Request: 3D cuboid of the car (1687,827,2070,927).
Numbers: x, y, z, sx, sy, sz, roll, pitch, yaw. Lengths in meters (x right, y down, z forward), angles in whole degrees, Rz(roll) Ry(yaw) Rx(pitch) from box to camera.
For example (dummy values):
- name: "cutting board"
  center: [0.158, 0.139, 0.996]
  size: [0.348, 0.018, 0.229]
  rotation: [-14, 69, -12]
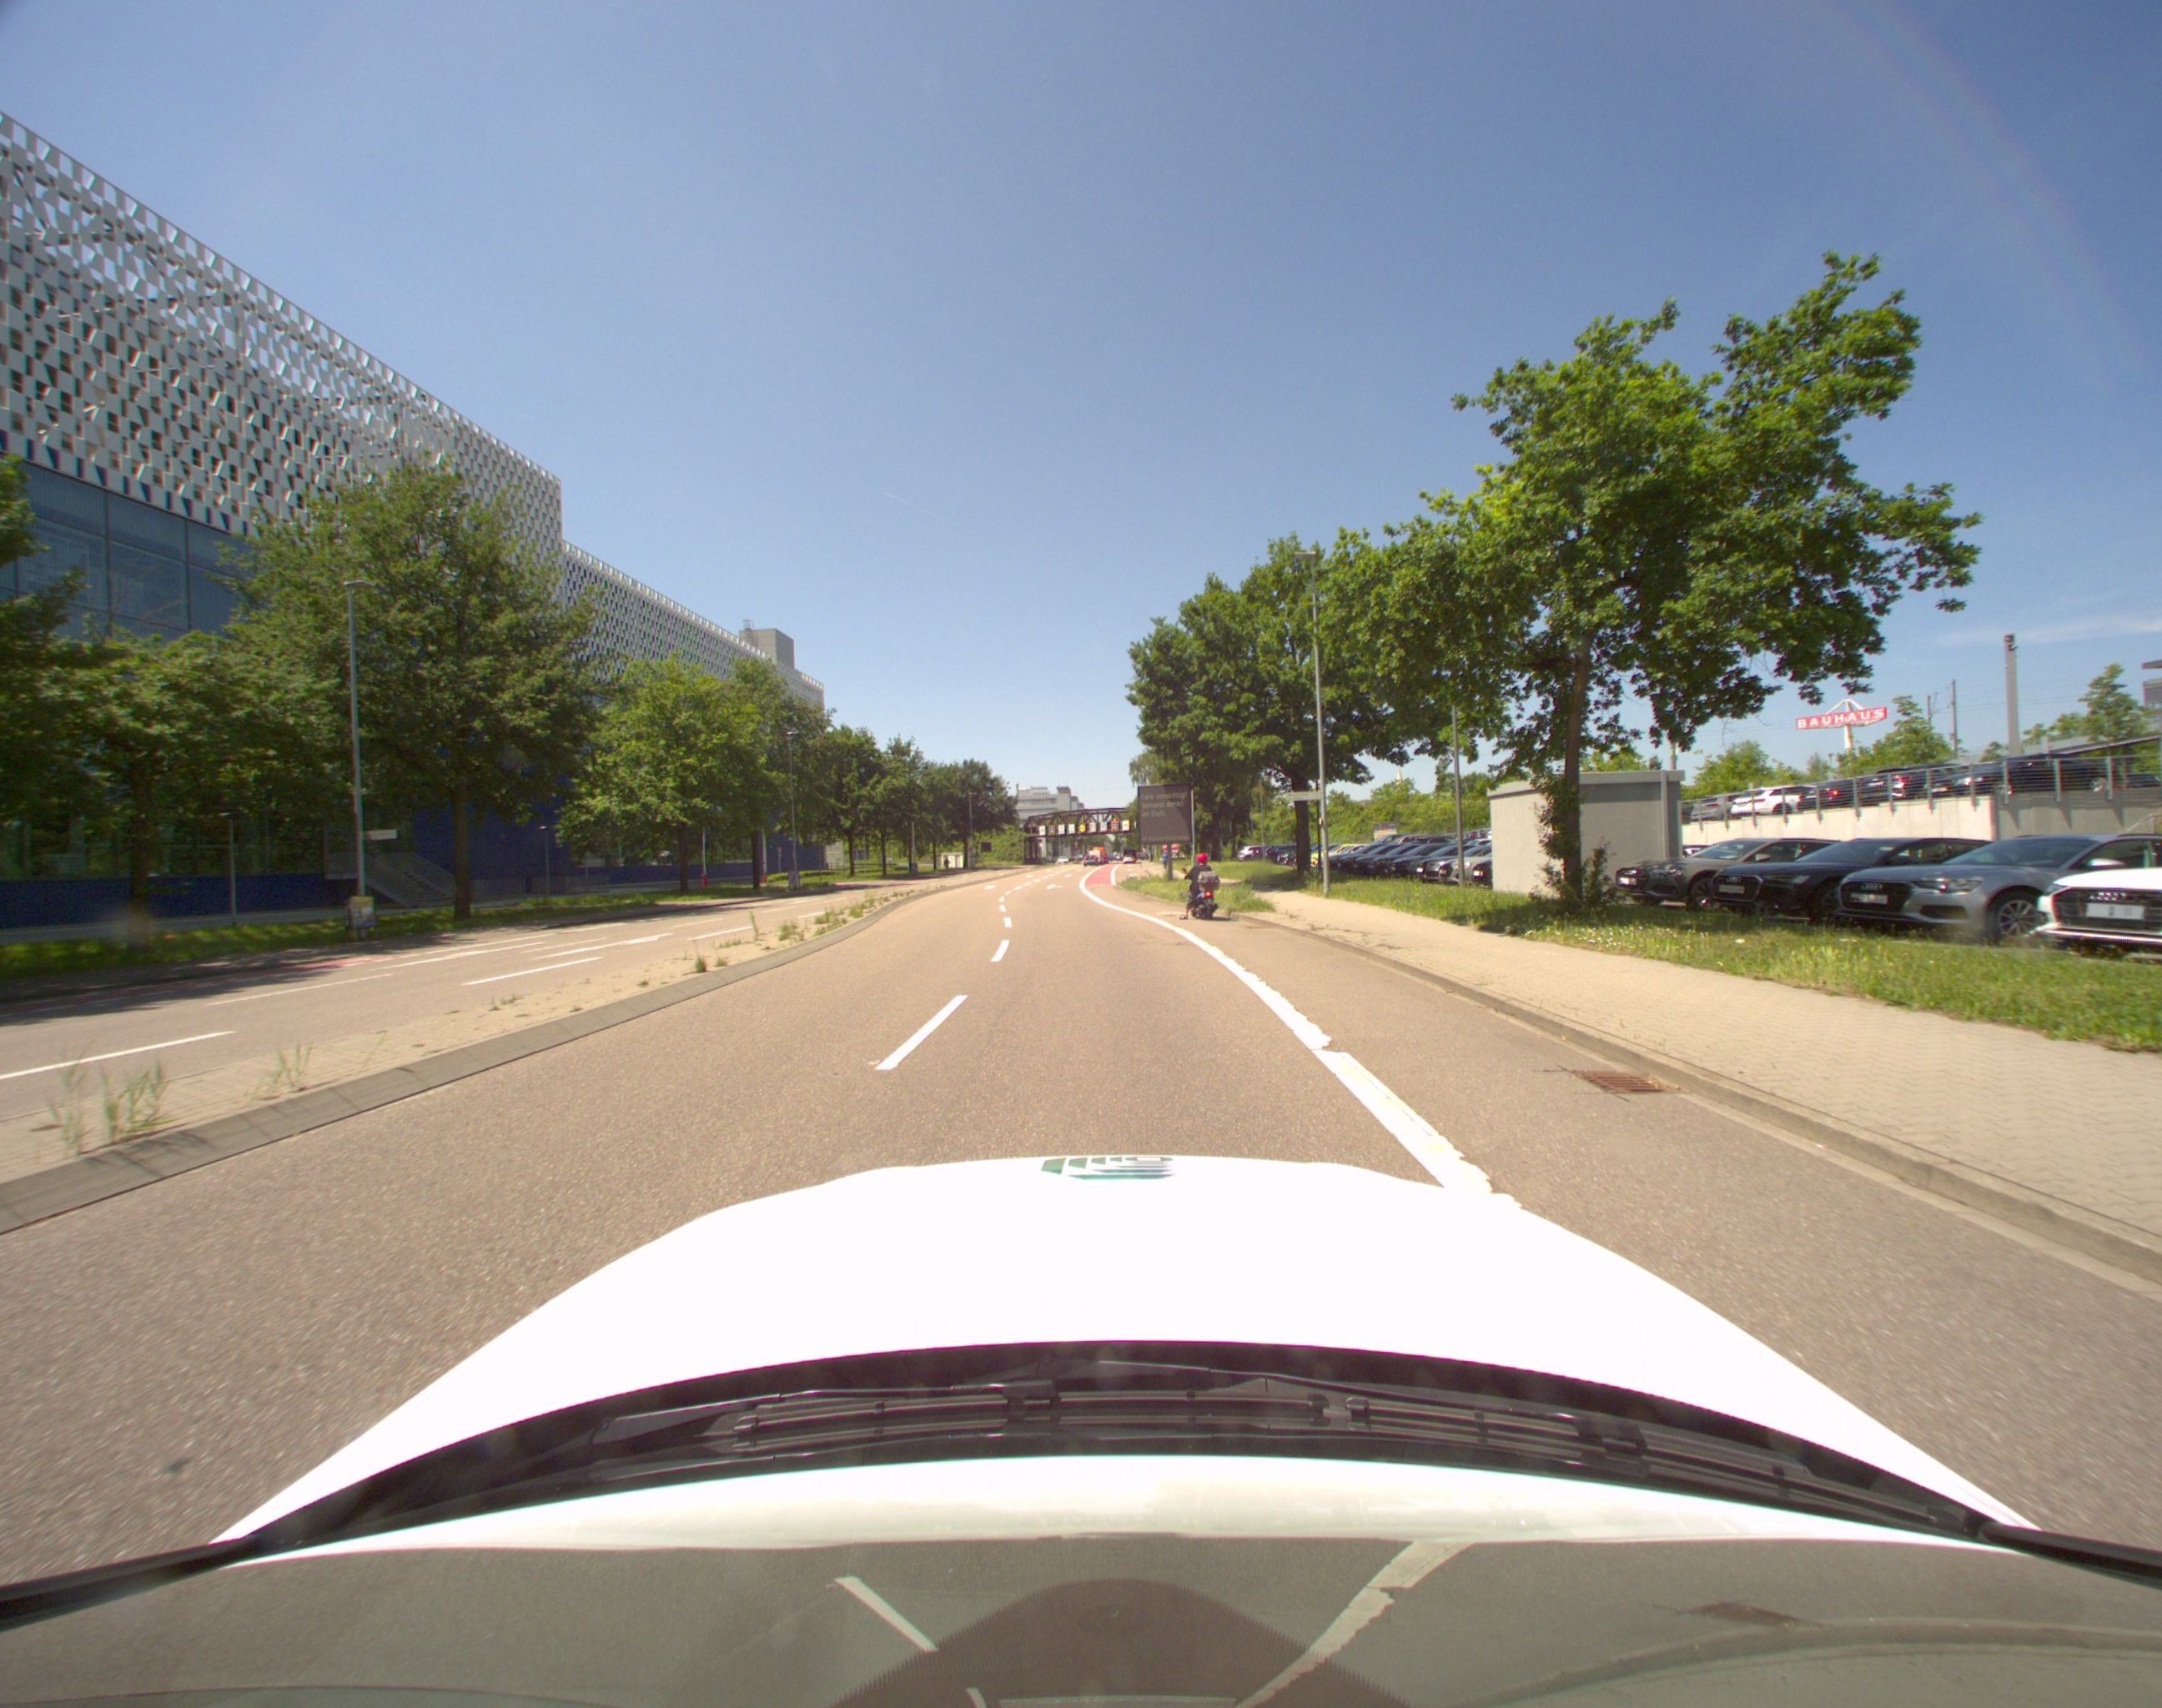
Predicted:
- name: "car"
  center: [12.594, 0.337, 13.111]
  size: [4.204, 1.342, 1.919]
  rotation: [2, 0, 2]

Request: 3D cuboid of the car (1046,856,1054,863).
- name: "car"
  center: [-7.676, 1.387, 204.107]
  size: [1.710, 1.732, 3.807]
  rotation: [-2, 0, 1]

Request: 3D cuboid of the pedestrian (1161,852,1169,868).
- name: "pedestrian"
  center: [7.298, 0.481, 71.125]
  size: [0.621, 1.374, 0.564]
  rotation: [-2, 0, 1]

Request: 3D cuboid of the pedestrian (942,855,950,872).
- name: "pedestrian"
  center: [-15.437, 1.096, 92.936]
  size: [0.740, 1.884, 0.578]
  rotation: [-2, 0, 3]

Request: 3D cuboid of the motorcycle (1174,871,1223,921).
- name: "motorcycle"
  center: [2.793, 0.969, 19.517]
  size: [0.715, 1.105, 1.826]
  rotation: [0, 0, -7]

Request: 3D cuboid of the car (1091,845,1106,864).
- name: "car"
  center: [2.821, 0.027, 130.432]
  size: [2.065, 2.854, 6.768]
  rotation: [-2, 0, 2]

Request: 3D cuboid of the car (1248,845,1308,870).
- name: "car"
  center: [14.317, 0.252, 59.189]
  size: [3.850, 1.604, 1.796]
  rotation: [3, 0, -2]

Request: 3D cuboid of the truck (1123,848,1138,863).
- name: "truck"
  center: [8.440, 0.225, 140.090]
  size: [2.448, 2.410, 7.139]
  rotation: [0, 0, 3]

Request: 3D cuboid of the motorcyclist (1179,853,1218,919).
- name: "motorcyclist"
  center: [2.795, 0.744, 19.477]
  size: [0.719, 1.529, 0.869]
  rotation: [0, 0, -7]

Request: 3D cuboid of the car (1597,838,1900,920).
- name: "car"
  center: [12.632, 0.440, 15.648]
  size: [4.204, 1.342, 1.919]
  rotation: [2, 0, 2]

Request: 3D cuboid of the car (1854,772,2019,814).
- name: "car"
  center: [29.674, -2.113, 28.335]
  size: [3.976, 1.312, 1.796]
  rotation: [0, 0, -2]

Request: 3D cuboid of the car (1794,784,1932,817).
- name: "car"
  center: [29.695, -2.009, 31.001]
  size: [3.714, 1.130, 1.683]
  rotation: [0, 0, -2]

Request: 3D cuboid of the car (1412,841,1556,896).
- name: "car"
  center: [13.414, 0.464, 27.248]
  size: [3.906, 1.582, 1.796]
  rotation: [3, 0, -2]

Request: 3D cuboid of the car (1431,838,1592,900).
- name: "car"
  center: [13.206, 0.452, 25.136]
  size: [3.976, 1.618, 1.796]
  rotation: [3, 0, -2]

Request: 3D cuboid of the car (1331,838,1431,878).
- name: "car"
  center: [14.001, 0.185, 38.195]
  size: [3.976, 1.624, 1.796]
  rotation: [3, 0, -2]

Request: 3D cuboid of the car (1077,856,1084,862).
- name: "car"
  center: [-0.134, 1.196, 189.437]
  size: [1.591, 1.332, 3.272]
  rotation: [-2, 0, -2]

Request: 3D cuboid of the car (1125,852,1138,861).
- name: "car"
  center: [8.105, 0.386, 131.333]
  size: [1.917, 1.420, 4.002]
  rotation: [-1, 0, 2]

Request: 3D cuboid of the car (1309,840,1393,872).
- name: "car"
  center: [14.446, 0.116, 43.657]
  size: [3.850, 1.502, 1.796]
  rotation: [3, 0, -2]

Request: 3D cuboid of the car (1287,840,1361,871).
- name: "car"
  center: [14.464, 0.064, 48.620]
  size: [3.850, 1.604, 1.796]
  rotation: [3, 0, -2]

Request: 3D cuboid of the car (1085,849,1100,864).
- name: "car"
  center: [1.635, 0.379, 113.074]
  size: [1.986, 2.013, 4.002]
  rotation: [-1, 0, 2]

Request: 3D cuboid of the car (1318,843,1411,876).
- name: "car"
  center: [14.220, 0.278, 40.993]
  size: [3.976, 1.423, 1.796]
  rotation: [3, 0, -2]

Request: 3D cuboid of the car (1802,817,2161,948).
- name: "car"
  center: [12.444, 0.374, 10.666]
  size: [4.204, 1.452, 1.919]
  rotation: [2, 0, 2]

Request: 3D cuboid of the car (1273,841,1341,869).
- name: "car"
  center: [14.701, 0.058, 53.122]
  size: [3.850, 1.604, 1.796]
  rotation: [3, 0, -2]

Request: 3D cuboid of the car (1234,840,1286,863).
- name: "car"
  center: [14.743, -0.193, 67.261]
  size: [3.850, 1.604, 1.796]
  rotation: [3, 0, -2]

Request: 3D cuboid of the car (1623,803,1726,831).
- name: "car"
  center: [30.137, -1.863, 41.426]
  size: [3.976, 1.312, 1.796]
  rotation: [0, 0, -2]

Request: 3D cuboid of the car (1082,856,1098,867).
- name: "car"
  center: [1.211, 0.948, 105.768]
  size: [1.893, 1.376, 4.234]
  rotation: [-2, 0, 2]

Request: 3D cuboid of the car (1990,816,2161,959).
- name: "car"
  center: [12.235, 0.380, 8.071]
  size: [4.204, 1.342, 1.919]
  rotation: [2, 0, 2]

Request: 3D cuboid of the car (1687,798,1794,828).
- name: "car"
  center: [29.463, -1.828, 36.430]
  size: [3.514, 1.239, 1.676]
  rotation: [0, 0, -2]

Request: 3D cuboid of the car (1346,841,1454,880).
- name: "car"
  center: [13.876, 0.264, 35.542]
  size: [3.976, 1.440, 1.796]
  rotation: [3, 0, -2]

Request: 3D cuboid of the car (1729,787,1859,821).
- name: "car"
  center: [29.447, -2.059, 33.705]
  size: [3.928, 1.211, 1.716]
  rotation: [-1, 0, -2]

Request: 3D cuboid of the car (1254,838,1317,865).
- name: "car"
  center: [14.146, -0.164, 56.536]
  size: [3.850, 1.604, 1.796]
  rotation: [3, 0, -2]

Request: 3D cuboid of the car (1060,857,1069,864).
- name: "car"
  center: [-3.439, 1.323, 167.561]
  size: [1.592, 1.332, 3.269]
  rotation: [-2, 0, -4]

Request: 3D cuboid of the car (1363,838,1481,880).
- name: "car"
  center: [13.793, 0.184, 33.084]
  size: [3.976, 1.440, 1.796]
  rotation: [3, 0, -2]

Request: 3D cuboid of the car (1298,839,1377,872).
- name: "car"
  center: [14.521, 0.076, 46.152]
  size: [3.850, 1.604, 1.796]
  rotation: [3, 0, -2]

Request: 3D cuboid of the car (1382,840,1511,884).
- name: "car"
  center: [13.530, 0.293, 30.302]
  size: [3.976, 1.377, 1.796]
  rotation: [3, 0, -2]
